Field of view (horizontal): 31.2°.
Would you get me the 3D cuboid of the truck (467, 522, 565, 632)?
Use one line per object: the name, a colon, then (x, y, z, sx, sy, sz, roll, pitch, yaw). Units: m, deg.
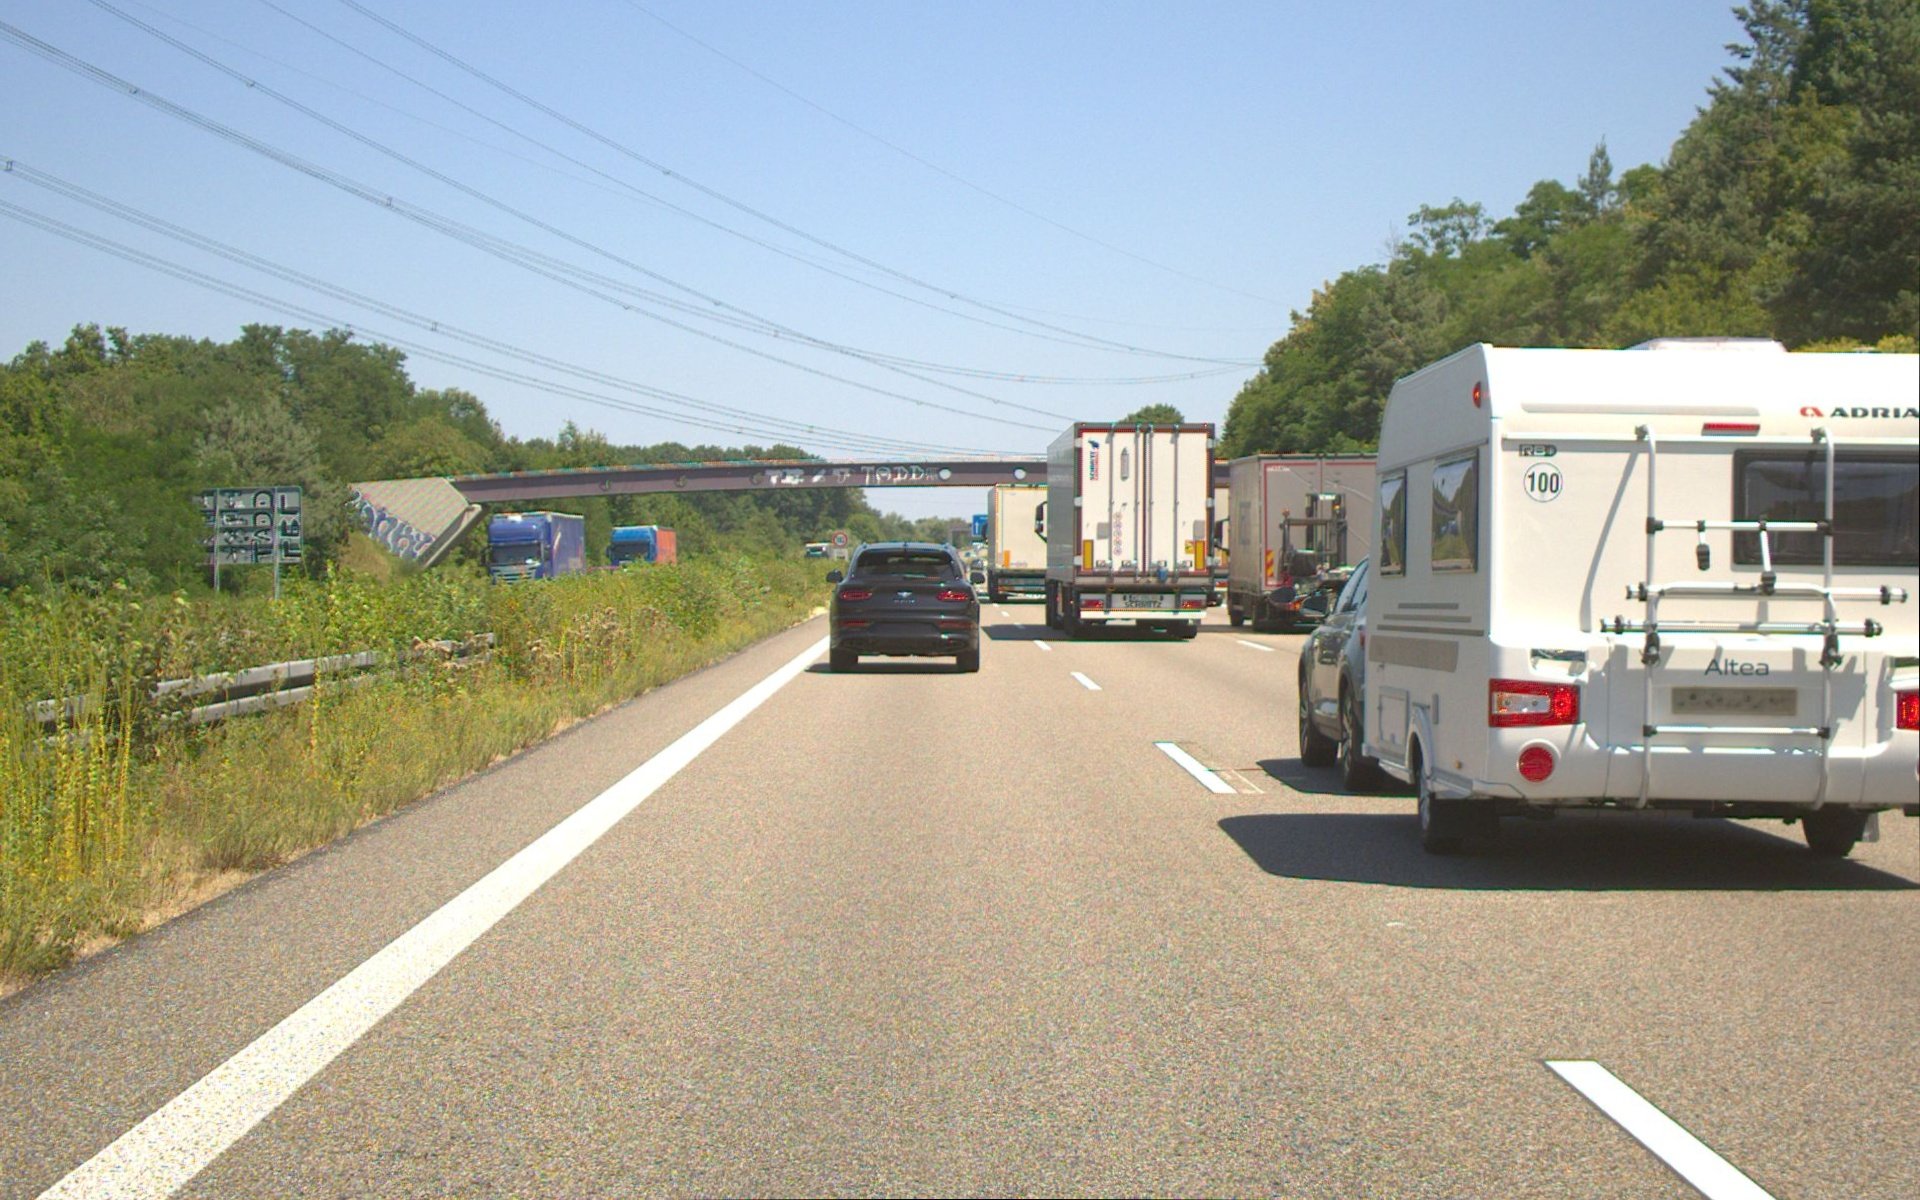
truck: (-18.773, -1.018, 145.822, 3.087, 4.392, 6.801, -3, 1, 0)

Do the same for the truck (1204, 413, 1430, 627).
truck: (7.572, -1.656, 74.793, 3.571, 4.230, 11.652, 1, 1, 0)

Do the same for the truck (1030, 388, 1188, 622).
truck: (3.215, -2.038, 75.950, 3.087, 4.868, 6.598, 1, 0, 0)

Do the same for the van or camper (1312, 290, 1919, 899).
van or camper: (3.449, -0.085, 18.333, 2.439, 2.665, 6.350, -1, 1, 0)

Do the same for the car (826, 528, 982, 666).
car: (-0.774, -0.082, 46.464, 1.993, 1.766, 4.000, -1, 1, -1)

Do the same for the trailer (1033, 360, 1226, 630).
trailer: (3.220, -1.969, 68.688, 3.087, 4.868, 12.258, 1, 1, 0)

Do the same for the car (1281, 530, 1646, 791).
car: (3.370, 0.343, 23.863, 1.879, 1.607, 4.702, -1, 1, 1)

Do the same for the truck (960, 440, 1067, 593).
truck: (1.807, -2.911, 121.487, 3.512, 5.149, 10.259, 1, 1, 0)
